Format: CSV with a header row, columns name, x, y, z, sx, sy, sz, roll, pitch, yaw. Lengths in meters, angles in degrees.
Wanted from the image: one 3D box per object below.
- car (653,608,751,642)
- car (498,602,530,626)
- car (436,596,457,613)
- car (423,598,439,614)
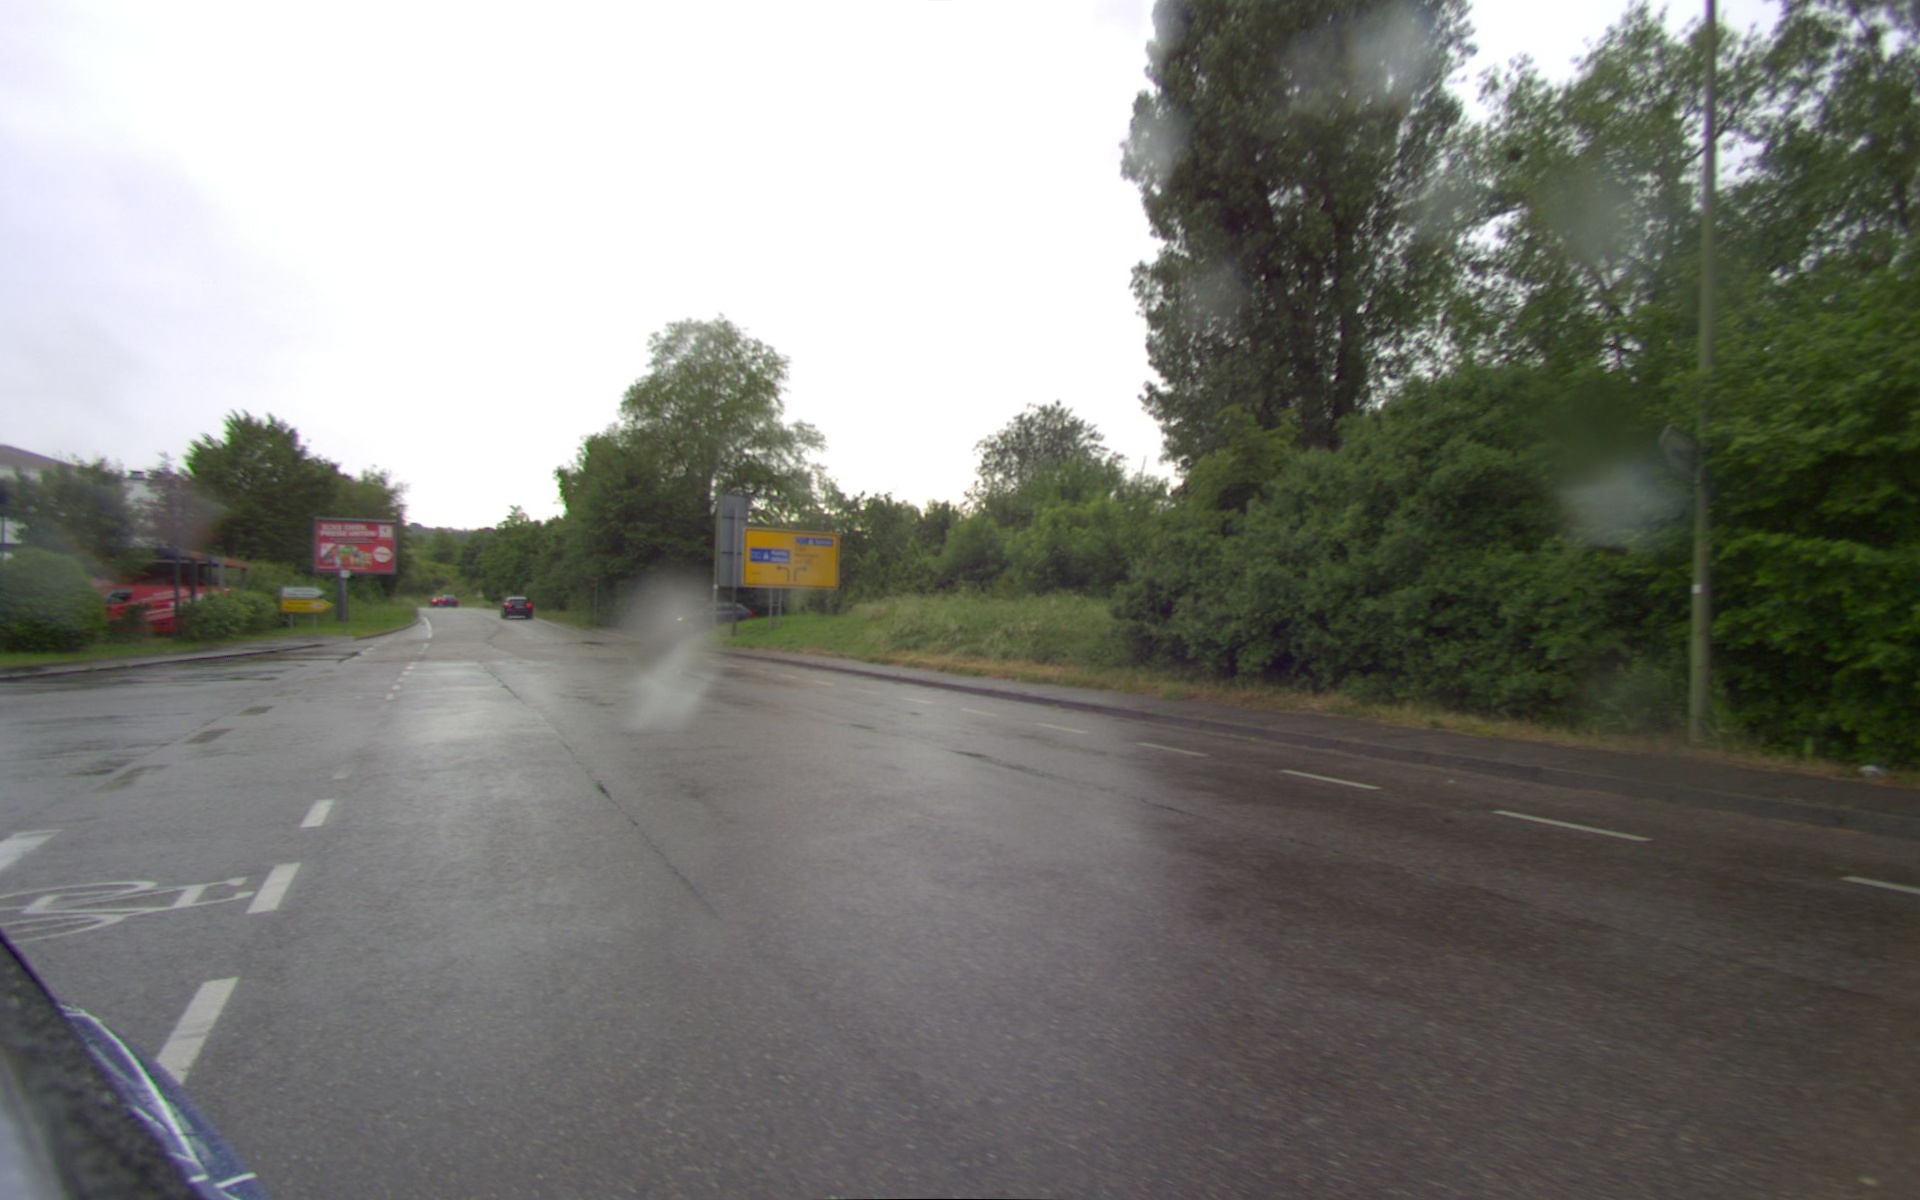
name,x,y,z,sx,sy,sz,roll,pitch,yaw
car,-12.032,1.132,47.322,4.056,1.501,1.860,0,0,-41
car,-29.704,0.899,67.349,1.803,1.535,4.013,0,0,-26
car,-63.750,0.511,125.601,1.966,2.029,4.012,1,1,-31
car,-73.491,0.803,140.517,1.779,2.029,4.012,1,1,-31
